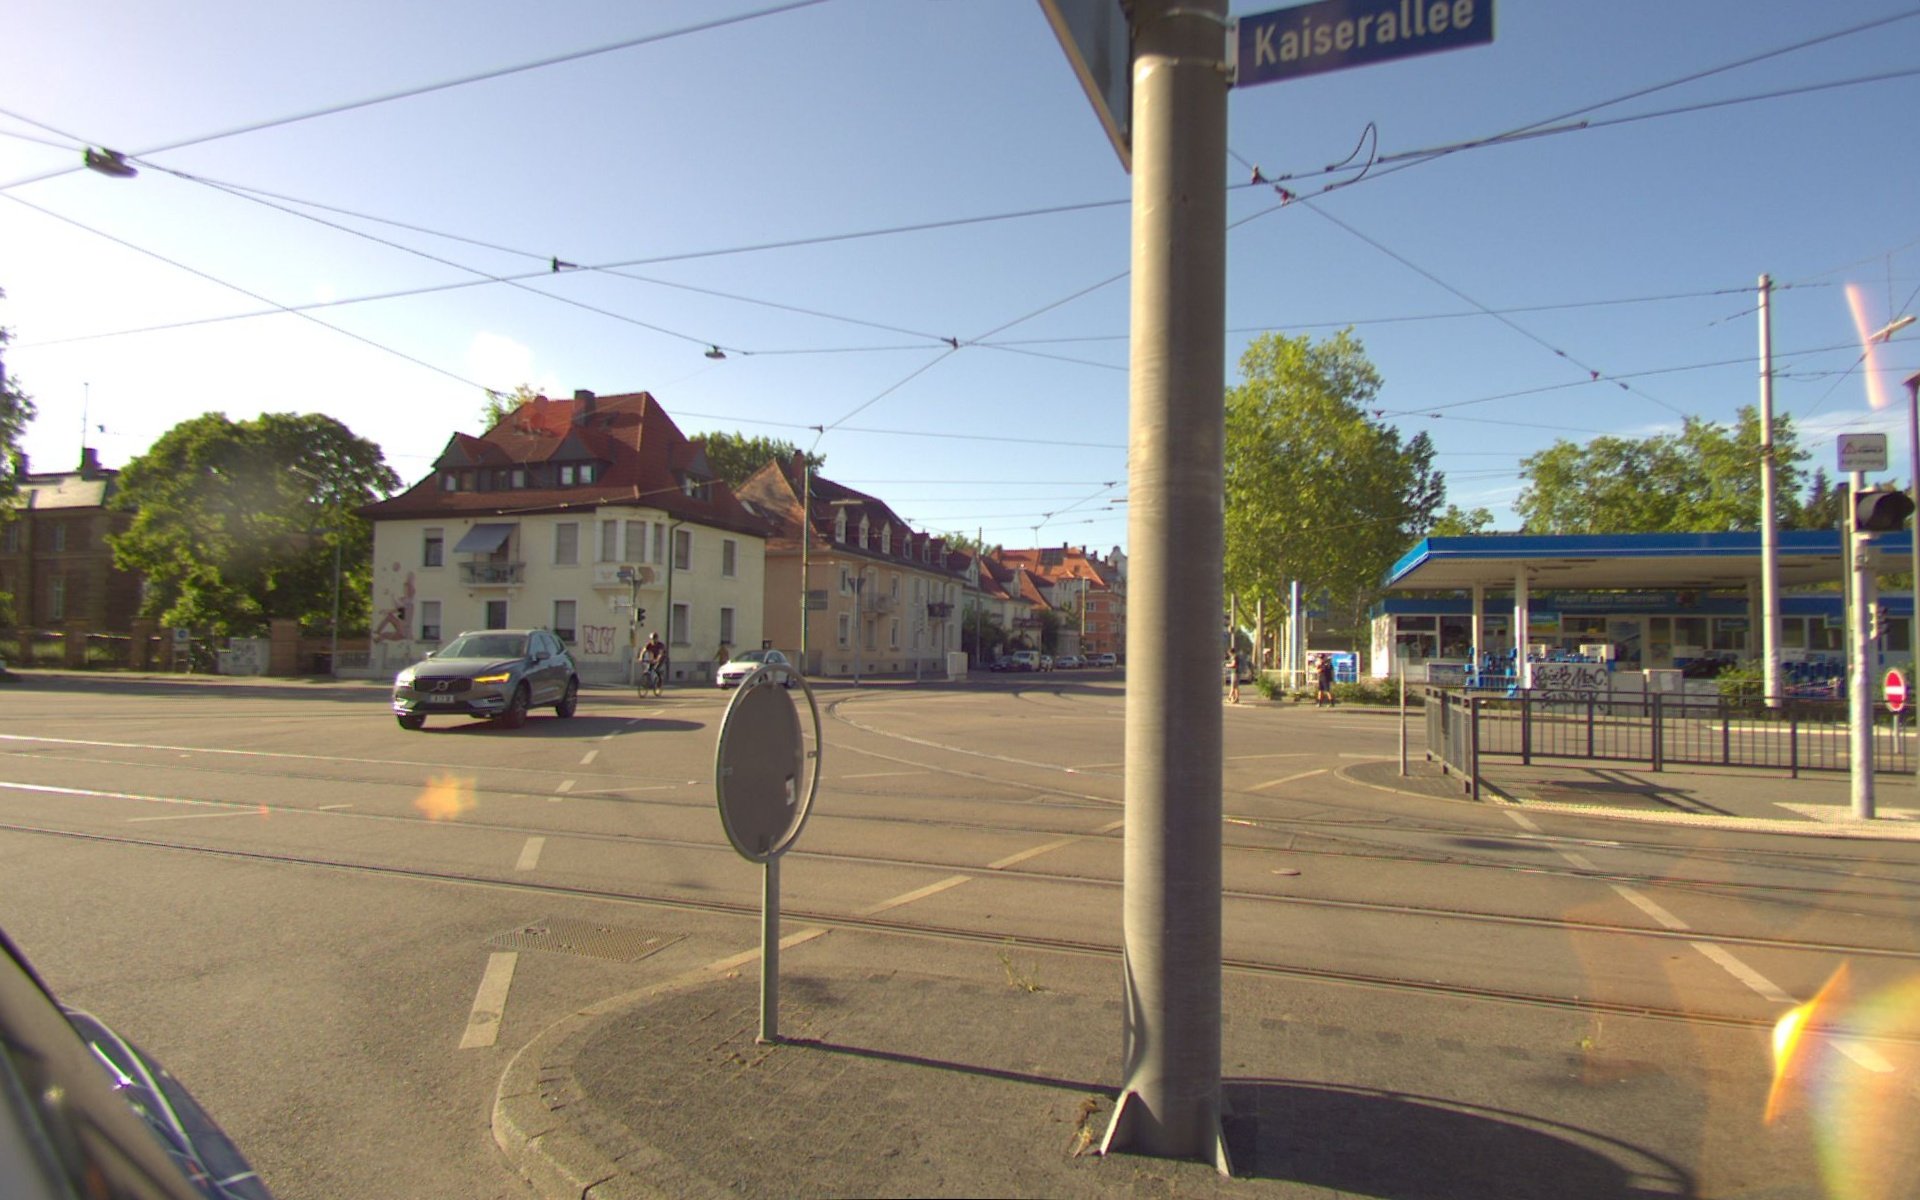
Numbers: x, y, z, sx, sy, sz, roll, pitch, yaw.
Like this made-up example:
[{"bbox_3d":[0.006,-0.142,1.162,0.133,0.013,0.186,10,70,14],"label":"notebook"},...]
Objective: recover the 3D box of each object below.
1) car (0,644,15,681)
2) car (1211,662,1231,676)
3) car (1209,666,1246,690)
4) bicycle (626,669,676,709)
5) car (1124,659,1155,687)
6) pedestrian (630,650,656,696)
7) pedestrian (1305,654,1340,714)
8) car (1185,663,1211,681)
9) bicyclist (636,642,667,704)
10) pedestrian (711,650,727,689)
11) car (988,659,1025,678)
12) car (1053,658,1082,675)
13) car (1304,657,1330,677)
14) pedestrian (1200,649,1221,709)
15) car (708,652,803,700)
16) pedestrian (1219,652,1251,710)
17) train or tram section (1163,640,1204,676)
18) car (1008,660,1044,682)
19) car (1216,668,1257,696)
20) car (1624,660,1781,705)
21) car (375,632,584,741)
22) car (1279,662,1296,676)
[{"bbox_3d":[-41.083,2.504,41.106,4.462,1.465,1.909,0,-3,16],"label":"car"},{"bbox_3d":[29.316,7.747,113.539,1.869,1.497,3.973,0,-3,20],"label":"car"},{"bbox_3d":[16.923,4.903,63.929,1.769,1.436,3.285,-4,-5,22],"label":"car"},{"bbox_3d":[-8.826,2.523,28.958,0.593,1.065,1.986,0,-3,6],"label":"bicycle"},{"bbox_3d":[10.265,4.157,57.793,1.705,1.508,3.570,0,-3,11],"label":"car"},{"bbox_3d":[-12.693,2.915,40.536,0.663,1.753,0.691,5,-2,-37],"label":"pedestrian"},{"bbox_3d":[10.894,2.526,30.420,0.746,1.742,0.725,-5,-6,33],"label":"pedestrian"},{"bbox_3d":[21.164,6.343,89.827,1.869,1.497,3.973,0,-3,20],"label":"car"},{"bbox_3d":[-8.838,2.078,28.975,0.593,1.732,0.661,0,-3,7],"label":"bicyclist"},{"bbox_3d":[-11.165,3.219,46.938,0.594,1.774,0.487,1,-4,-1],"label":"pedestrian"},{"bbox_3d":[3.906,5.723,84.836,1.871,1.497,3.970,0,-3,22],"label":"car"},{"bbox_3d":[11.446,7.080,107.549,1.919,1.774,5.279,0,-3,19],"label":"car"},{"bbox_3d":[27.639,5.148,78.339,1.869,1.497,3.973,0,-3,20],"label":"car"},{"bbox_3d":[8.345,2.623,33.721,0.626,1.940,0.580,0,-3,19],"label":"pedestrian"},{"bbox_3d":[-7.573,2.805,37.870,1.898,1.643,4.486,0,-3,11],"label":"car"},{"bbox_3d":[8.813,2.592,32.404,0.742,1.815,0.730,-2,-4,43],"label":"pedestrian"},{"bbox_3d":[24.298,6.325,109.559,3.041,3.641,12.038,0,-3,18],"label":"train or tram section"},{"bbox_3d":[5.919,6.360,90.530,1.919,1.859,5.279,0,-3,19],"label":"car"},{"bbox_3d":[15.662,4.629,57.231,1.769,1.436,3.511,-4,-5,22],"label":"car"},{"bbox_3d":[26.791,2.953,36.664,4.185,1.497,1.707,0,-3,19],"label":"car"},{"bbox_3d":[-8.212,1.457,17.818,1.889,1.643,4.508,1,-3,-6],"label":"car"},{"bbox_3d":[39.272,8.274,121.388,1.869,1.563,3.973,0,-3,20],"label":"car"}]
